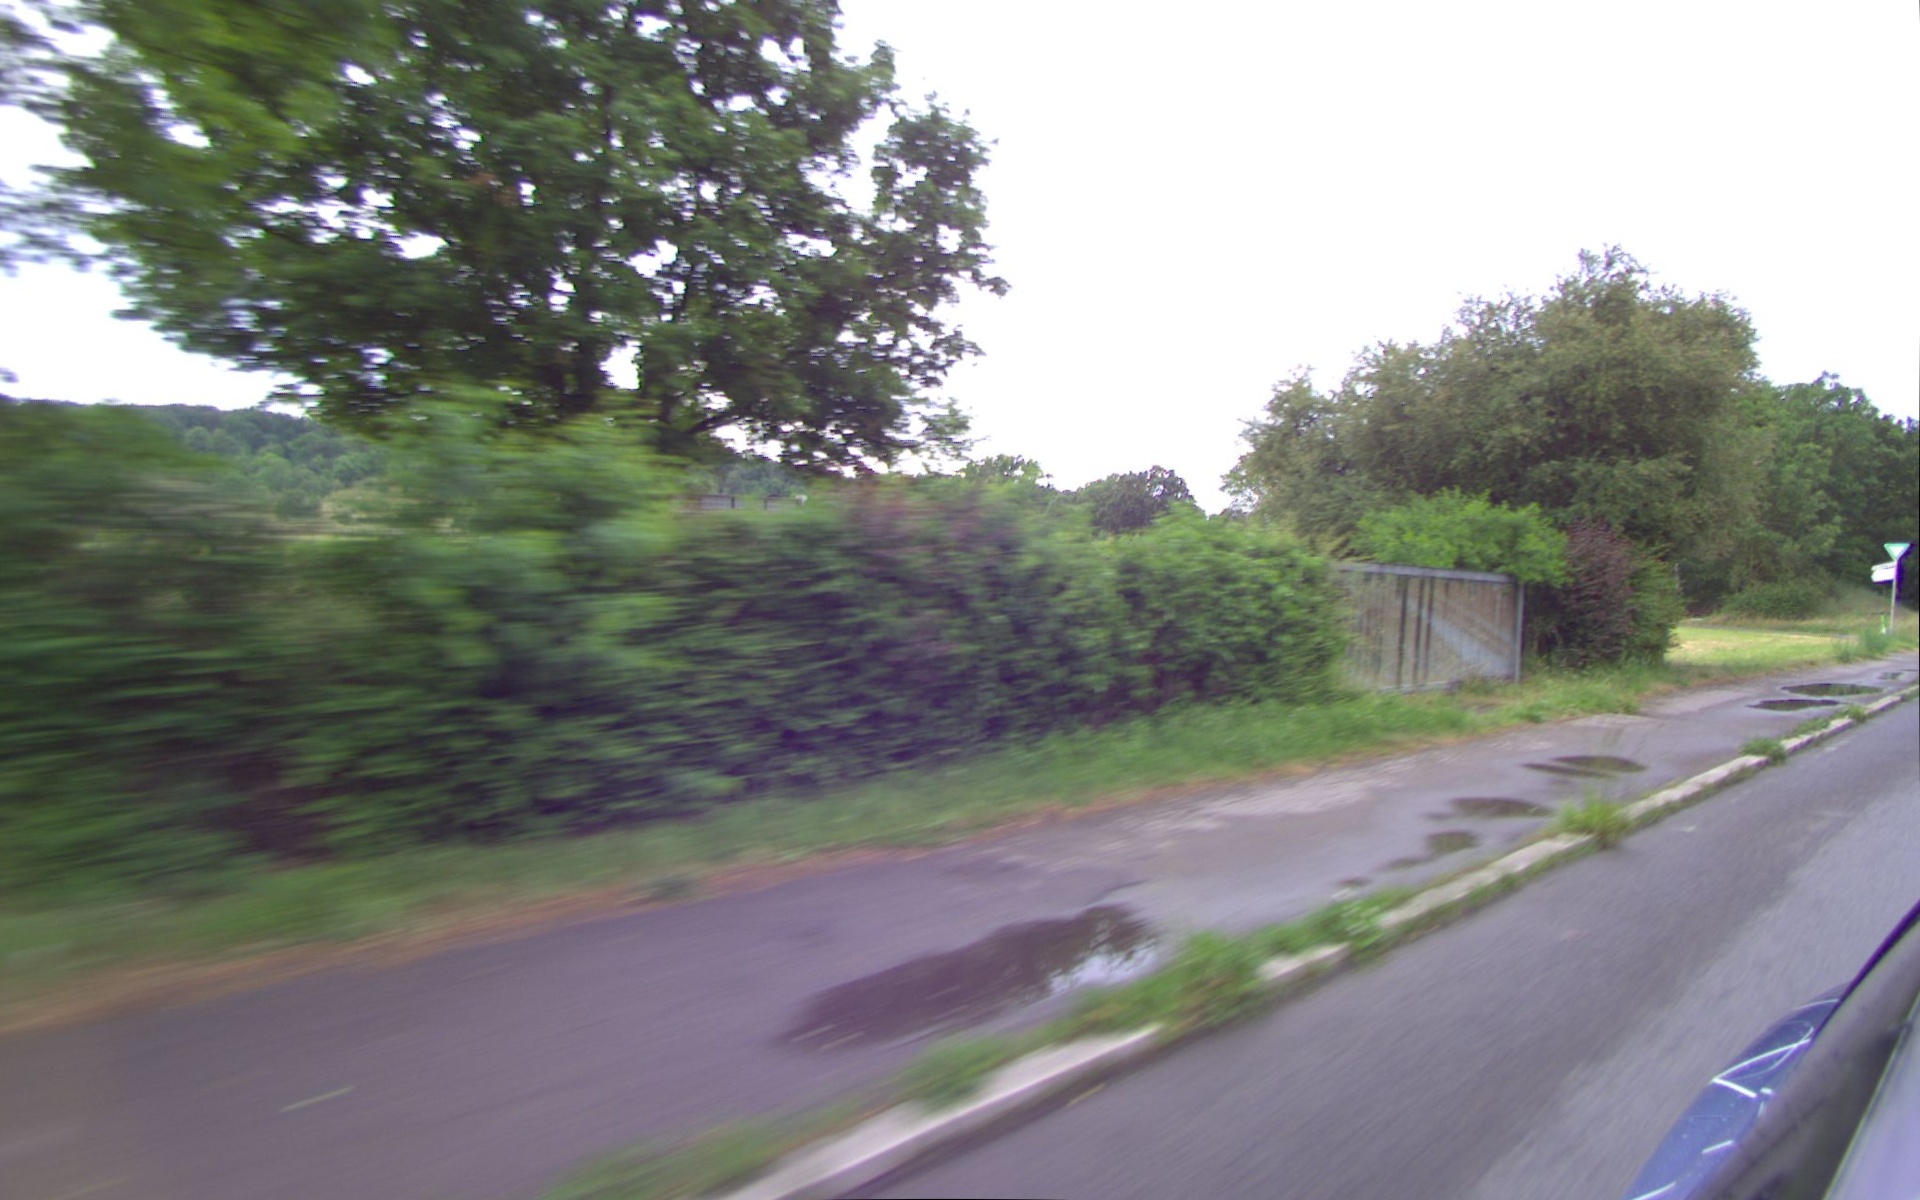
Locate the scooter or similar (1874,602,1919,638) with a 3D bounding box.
[{"bbox_3d":[33.816,0.708,36.549,0.367,1.221,1.328,1,1,0],"label":"scooter or similar"}]
